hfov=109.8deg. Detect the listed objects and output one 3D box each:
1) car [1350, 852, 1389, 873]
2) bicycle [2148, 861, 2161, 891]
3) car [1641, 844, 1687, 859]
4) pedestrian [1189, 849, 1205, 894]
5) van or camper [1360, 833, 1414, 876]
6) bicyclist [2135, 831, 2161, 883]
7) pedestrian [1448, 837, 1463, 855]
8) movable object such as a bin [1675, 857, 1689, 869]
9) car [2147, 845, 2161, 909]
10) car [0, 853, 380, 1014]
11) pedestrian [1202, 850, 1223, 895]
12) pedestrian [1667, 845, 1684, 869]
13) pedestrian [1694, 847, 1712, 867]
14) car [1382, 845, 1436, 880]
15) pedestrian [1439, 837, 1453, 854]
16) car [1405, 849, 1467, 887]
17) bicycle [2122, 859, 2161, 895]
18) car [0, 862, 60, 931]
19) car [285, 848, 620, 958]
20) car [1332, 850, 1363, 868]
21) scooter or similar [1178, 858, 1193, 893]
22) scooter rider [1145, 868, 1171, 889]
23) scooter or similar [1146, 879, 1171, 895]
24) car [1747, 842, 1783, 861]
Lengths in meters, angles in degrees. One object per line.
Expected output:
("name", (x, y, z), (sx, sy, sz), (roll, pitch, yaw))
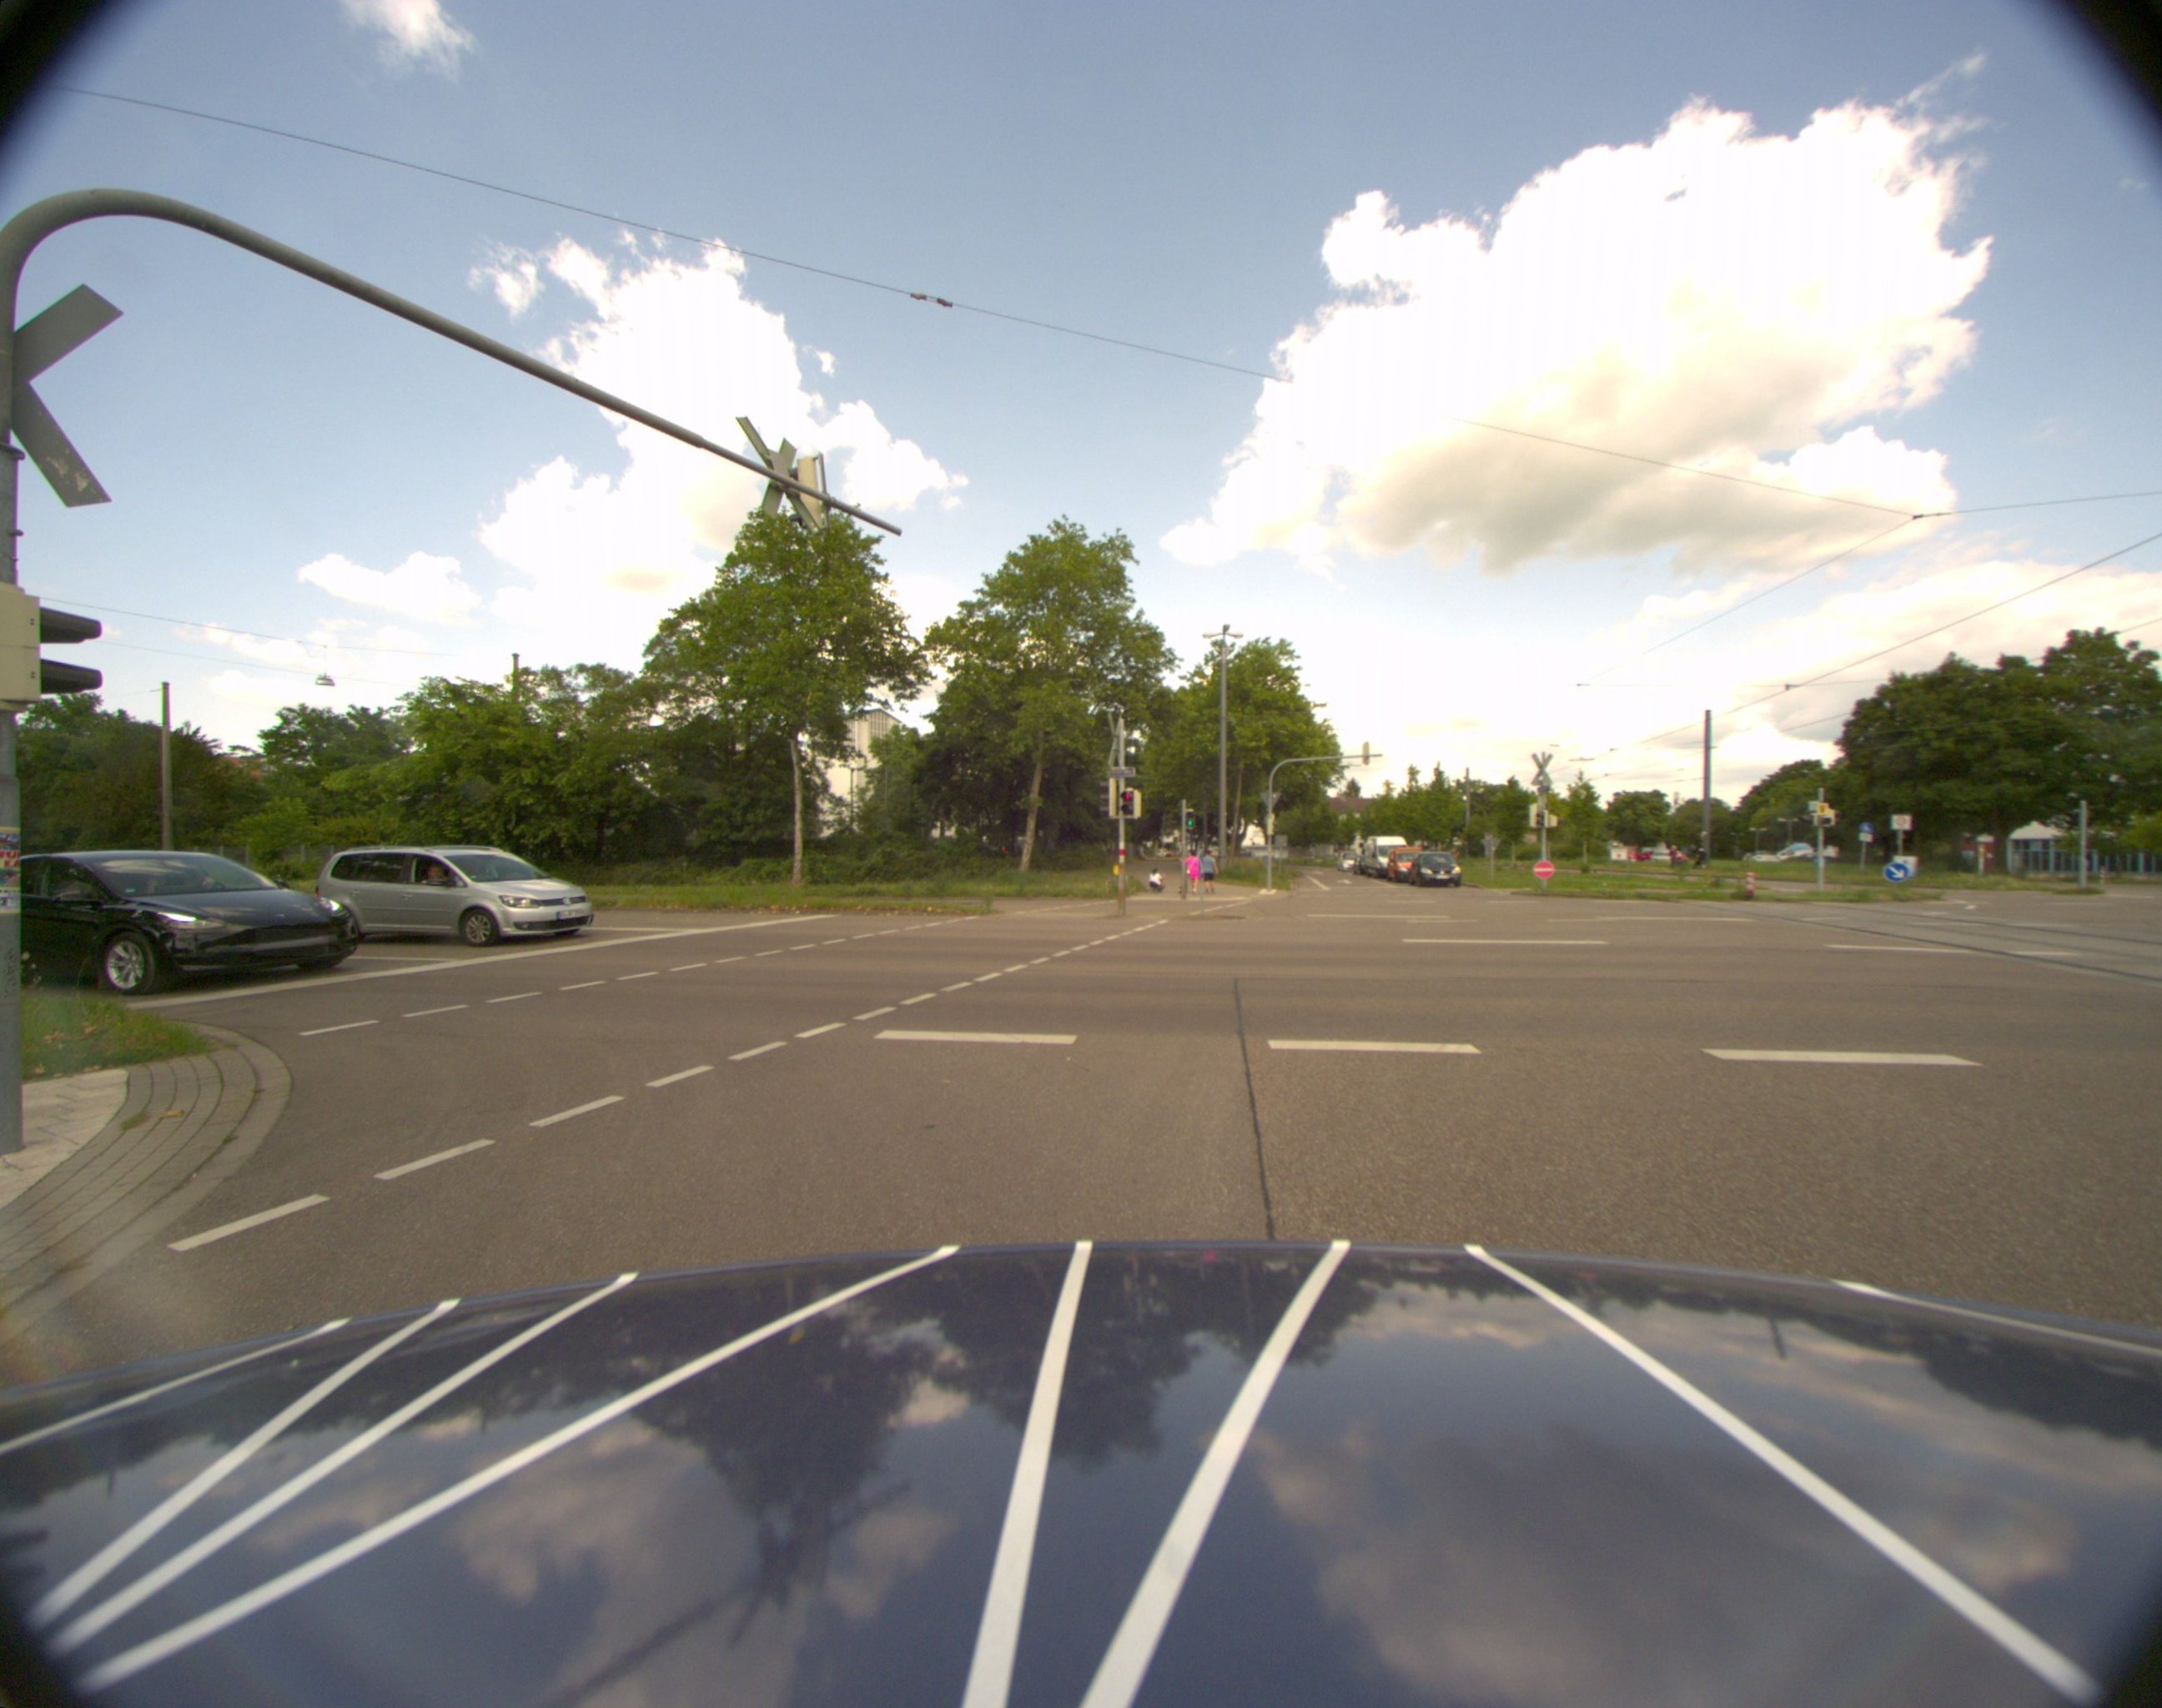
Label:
("car", (20.344, 0.576, 53.727), (1.809, 1.423, 4.472), (0, 1, 10))
("bicycle", (37.934, 0.785, 25.938), (0.949, 1.034, 1.987), (0, 1, 27))
("car", (63.487, -0.271, 82.794), (3.988, 1.521, 2.004), (0, 1, 37))
("pedestrian", (4.181, 0.613, 27.324), (0.421, 1.610, 0.597), (0, 1, 20))
("van or camper", (18.959, 0.031, 47.363), (1.979, 2.509, 6.042), (0, 0, 10))
("bicyclist", (36.054, 0.094, 25.204), (0.961, 1.712, 0.837), (0, 1, 27))
("pedestrian", (43.858, -0.940, 88.947), (1.106, 2.002, 1.176), (0, 1, -4))
("movable object such as a bin", (41.318, 0.612, 52.262), (0.579, 0.807, 0.459), (-2, 1, -4))
("car", (27.629, 0.604, 17.294), (1.724, 1.607, 4.004), (0, 1, 14))
("car", (-11.676, 0.851, 9.493), (4.572, 1.643, 1.933), (0, 2, 12))
("pedestrian", (4.690, 0.656, 27.135), (0.631, 1.610, 0.611), (0, 1, 20))
("pedestrian", (41.262, 0.211, 52.728), (0.613, 1.635, 0.638), (-2, 1, -3))
("pedestrian", (42.904, 0.196, 52.388), (0.650, 1.346, 0.753), (-2, 1, 11))
("car", (17.523, 0.423, 40.739), (1.881, 1.789, 4.374), (0, 1, 13))
("pedestrian", (42.692, -0.954, 88.859), (1.106, 2.002, 1.176), (0, 1, -4))
("car", (16.045, 0.595, 34.563), (1.733, 1.621, 4.056), (0, 1, 13))
("bicycle", (36.062, 0.763, 25.227), (0.949, 1.147, 1.987), (0, 1, 27))
("car", (-24.182, 0.895, 15.770), (4.336, 1.367, 1.765), (0, 2, 10))
("car", (-10.692, 0.753, 13.083), (4.495, 1.643, 1.932), (0, 2, 10))
("car", (21.561, 0.362, 61.602), (1.808, 1.423, 4.386), (0, 1, 12))
("scooter or similar", (3.811, 0.788, 27.581), (0.321, 1.225, 0.777), (-2, 1, 22))
("scooter rider", (2.791, 0.886, 27.498), (0.610, 0.725, 0.861), (-2, 0, 30))
("scooter or similar", (2.811, 1.183, 27.501), (0.610, 0.508, 0.859), (-2, 0, 30))
("car", (62.477, -0.237, 69.458), (1.994, 1.630, 4.399), (0, 1, 37))
